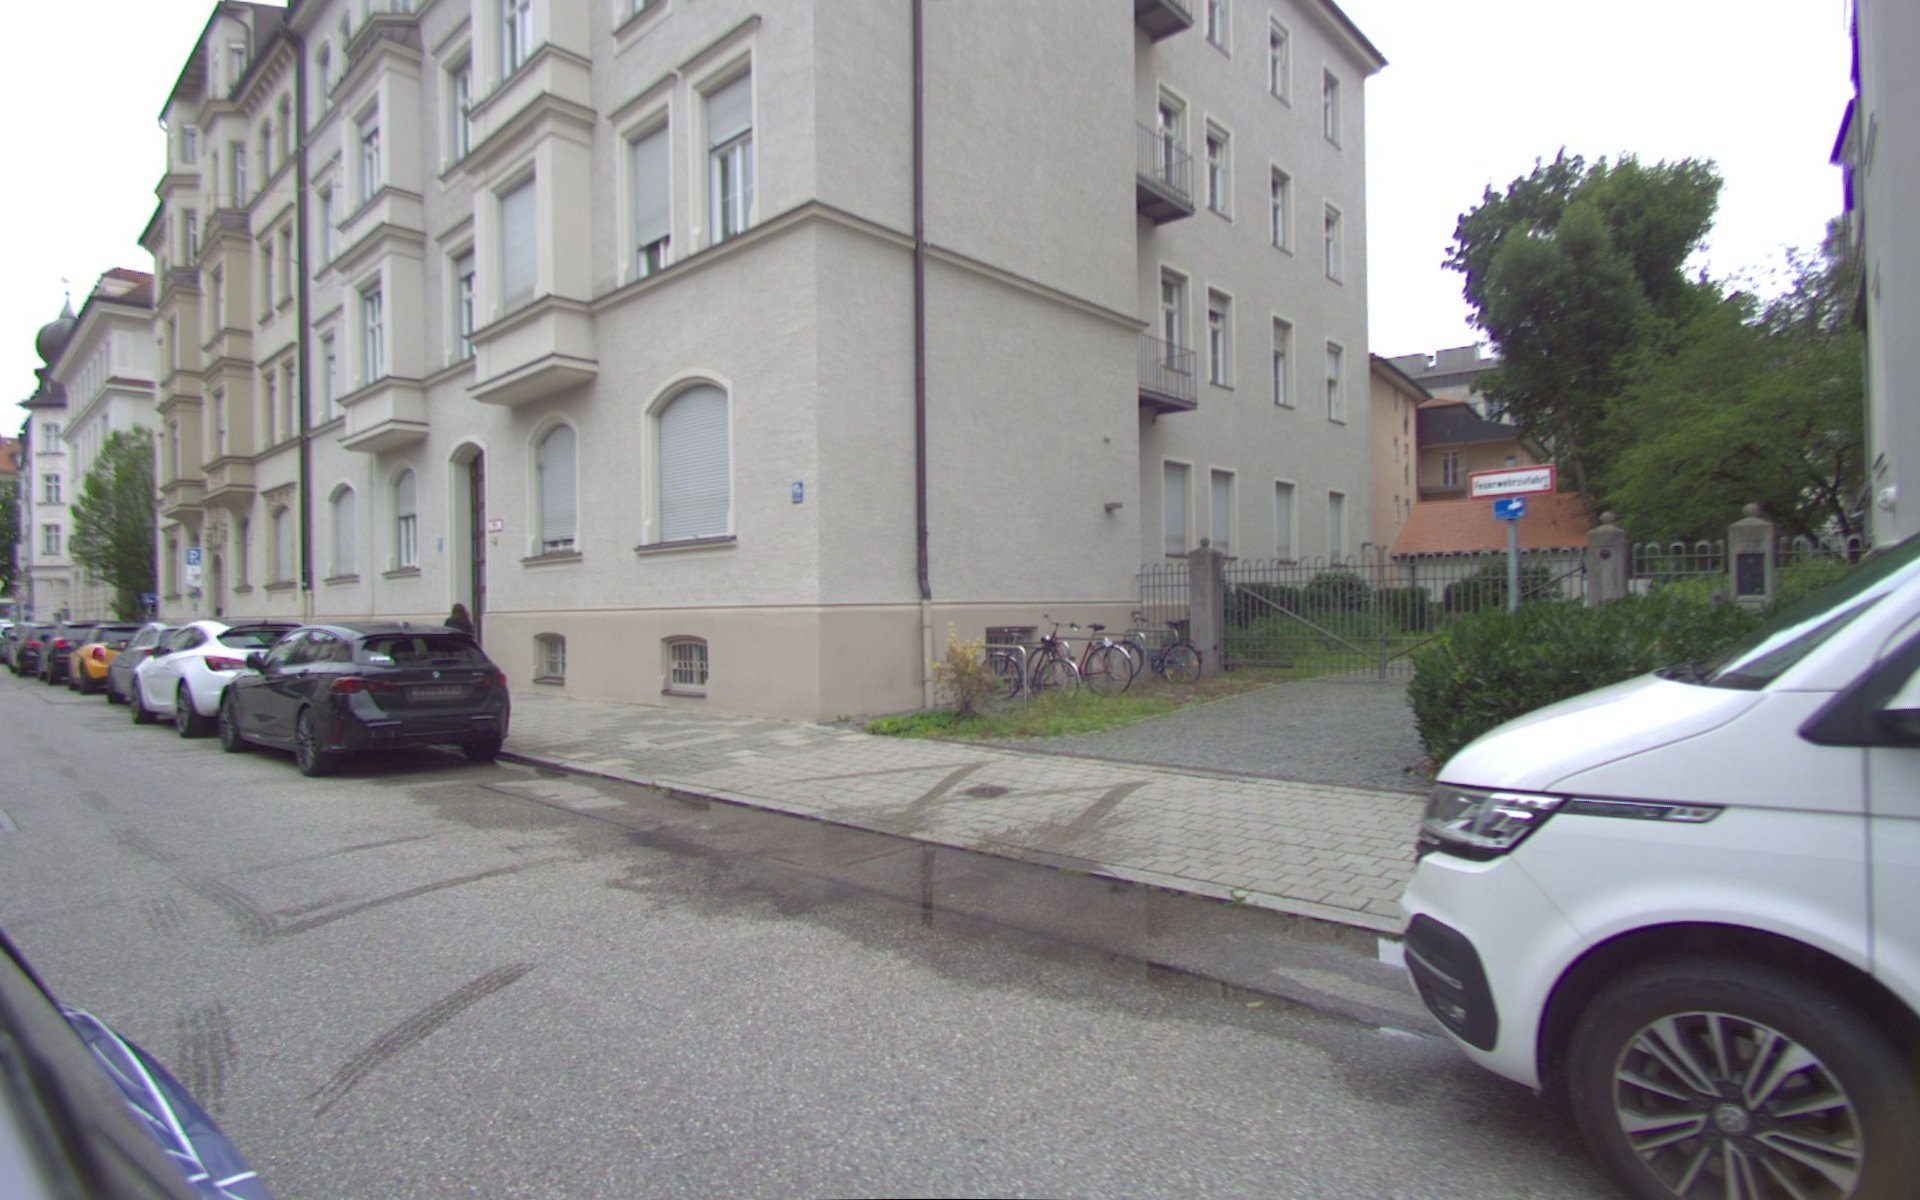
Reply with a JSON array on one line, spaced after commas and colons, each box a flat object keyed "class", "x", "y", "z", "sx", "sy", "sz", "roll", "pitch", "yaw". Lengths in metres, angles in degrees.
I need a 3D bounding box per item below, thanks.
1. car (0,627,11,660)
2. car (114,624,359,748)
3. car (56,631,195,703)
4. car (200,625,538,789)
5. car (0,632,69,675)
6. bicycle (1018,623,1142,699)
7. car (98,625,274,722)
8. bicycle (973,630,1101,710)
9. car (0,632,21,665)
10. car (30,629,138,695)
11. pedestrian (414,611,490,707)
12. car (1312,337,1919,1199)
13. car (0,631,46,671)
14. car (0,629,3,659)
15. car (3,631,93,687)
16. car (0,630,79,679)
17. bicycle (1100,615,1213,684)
[{"class": "car", "x": -47.276, "y": 2.108, "z": 49.017, "sx": 3.689, "sy": 1.542, "sz": 1.605, "roll": -2, "pitch": -2, "yaw": 42}, {"class": "car", "x": -10.261, "y": 1.090, "z": 14.233, "sx": 4.376, "sy": 1.475, "sz": 1.836, "roll": -2, "pitch": -2, "yaw": 41}, {"class": "car", "x": -17.663, "y": 1.353, "z": 21.368, "sx": 3.730, "sy": 1.373, "sz": 1.786, "roll": -2, "pitch": -2, "yaw": 43}, {"class": "car", "x": -6.507, "y": 0.998, "z": 10.940, "sx": 4.376, "sy": 1.423, "sz": 1.836, "roll": -2, "pitch": -3, "yaw": 41}, {"class": "car", "x": -32.708, "y": 1.835, "z": 35.543, "sx": 3.687, "sy": 1.440, "sz": 1.606, "roll": -2, "pitch": -2, "yaw": 41}, {"class": "bicycle", "x": 1.665, "y": 0.834, "z": 14.220, "sx": 1.778, "sy": 0.992, "sz": 0.442, "roll": -2, "pitch": -1, "yaw": 41}, {"class": "car", "x": -13.452, "y": 1.186, "z": 17.510, "sx": 3.938, "sy": 1.475, "sz": 1.785, "roll": -2, "pitch": -2, "yaw": 43}, {"class": "bicycle", "x": 1.007, "y": 0.912, "z": 13.544, "sx": 1.778, "sy": 0.992, "sz": 0.442, "roll": -2, "pitch": -1, "yaw": 41}, {"class": "car", "x": -43.716, "y": 2.164, "z": 45.813, "sx": 3.690, "sy": 1.440, "sz": 1.604, "roll": -2, "pitch": -2, "yaw": 44}, {"class": "car", "x": -21.355, "y": 1.452, "z": 24.626, "sx": 3.941, "sy": 1.467, "sz": 1.605, "roll": -2, "pitch": -2, "yaw": 43}, {"class": "pedestrian", "x": -8.964, "y": 1.012, "z": 17.843, "sx": 1.052, "sy": 1.620, "sz": 0.864, "roll": -2, "pitch": -1, "yaw": 42}, {"class": "car", "x": 3.460, "y": 0.439, "z": 1.909, "sx": 4.954, "sy": 1.953, "sz": 1.837, "roll": -2, "pitch": -2, "yaw": 40}, {"class": "car", "x": -36.094, "y": 1.913, "z": 38.403, "sx": 3.687, "sy": 1.440, "sz": 1.606, "roll": -2, "pitch": -2, "yaw": 41}, {"class": "car", "x": -51.218, "y": 2.301, "z": 52.765, "sx": 3.919, "sy": 1.542, "sz": 1.605, "roll": -2, "pitch": -2, "yaw": 42}, {"class": "car", "x": -25.599, "y": 1.607, "z": 28.359, "sx": 3.942, "sy": 1.440, "sz": 1.604, "roll": -2, "pitch": -2, "yaw": 44}, {"class": "car", "x": -29.034, "y": 1.676, "z": 31.883, "sx": 3.589, "sy": 1.440, "sz": 1.604, "roll": -2, "pitch": -2, "yaw": 44}, {"class": "bicycle", "x": 2.999, "y": 0.745, "z": 15.572, "sx": 0.442, "sy": 0.992, "sz": 1.782, "roll": -1, "pitch": -1, "yaw": -42}]
